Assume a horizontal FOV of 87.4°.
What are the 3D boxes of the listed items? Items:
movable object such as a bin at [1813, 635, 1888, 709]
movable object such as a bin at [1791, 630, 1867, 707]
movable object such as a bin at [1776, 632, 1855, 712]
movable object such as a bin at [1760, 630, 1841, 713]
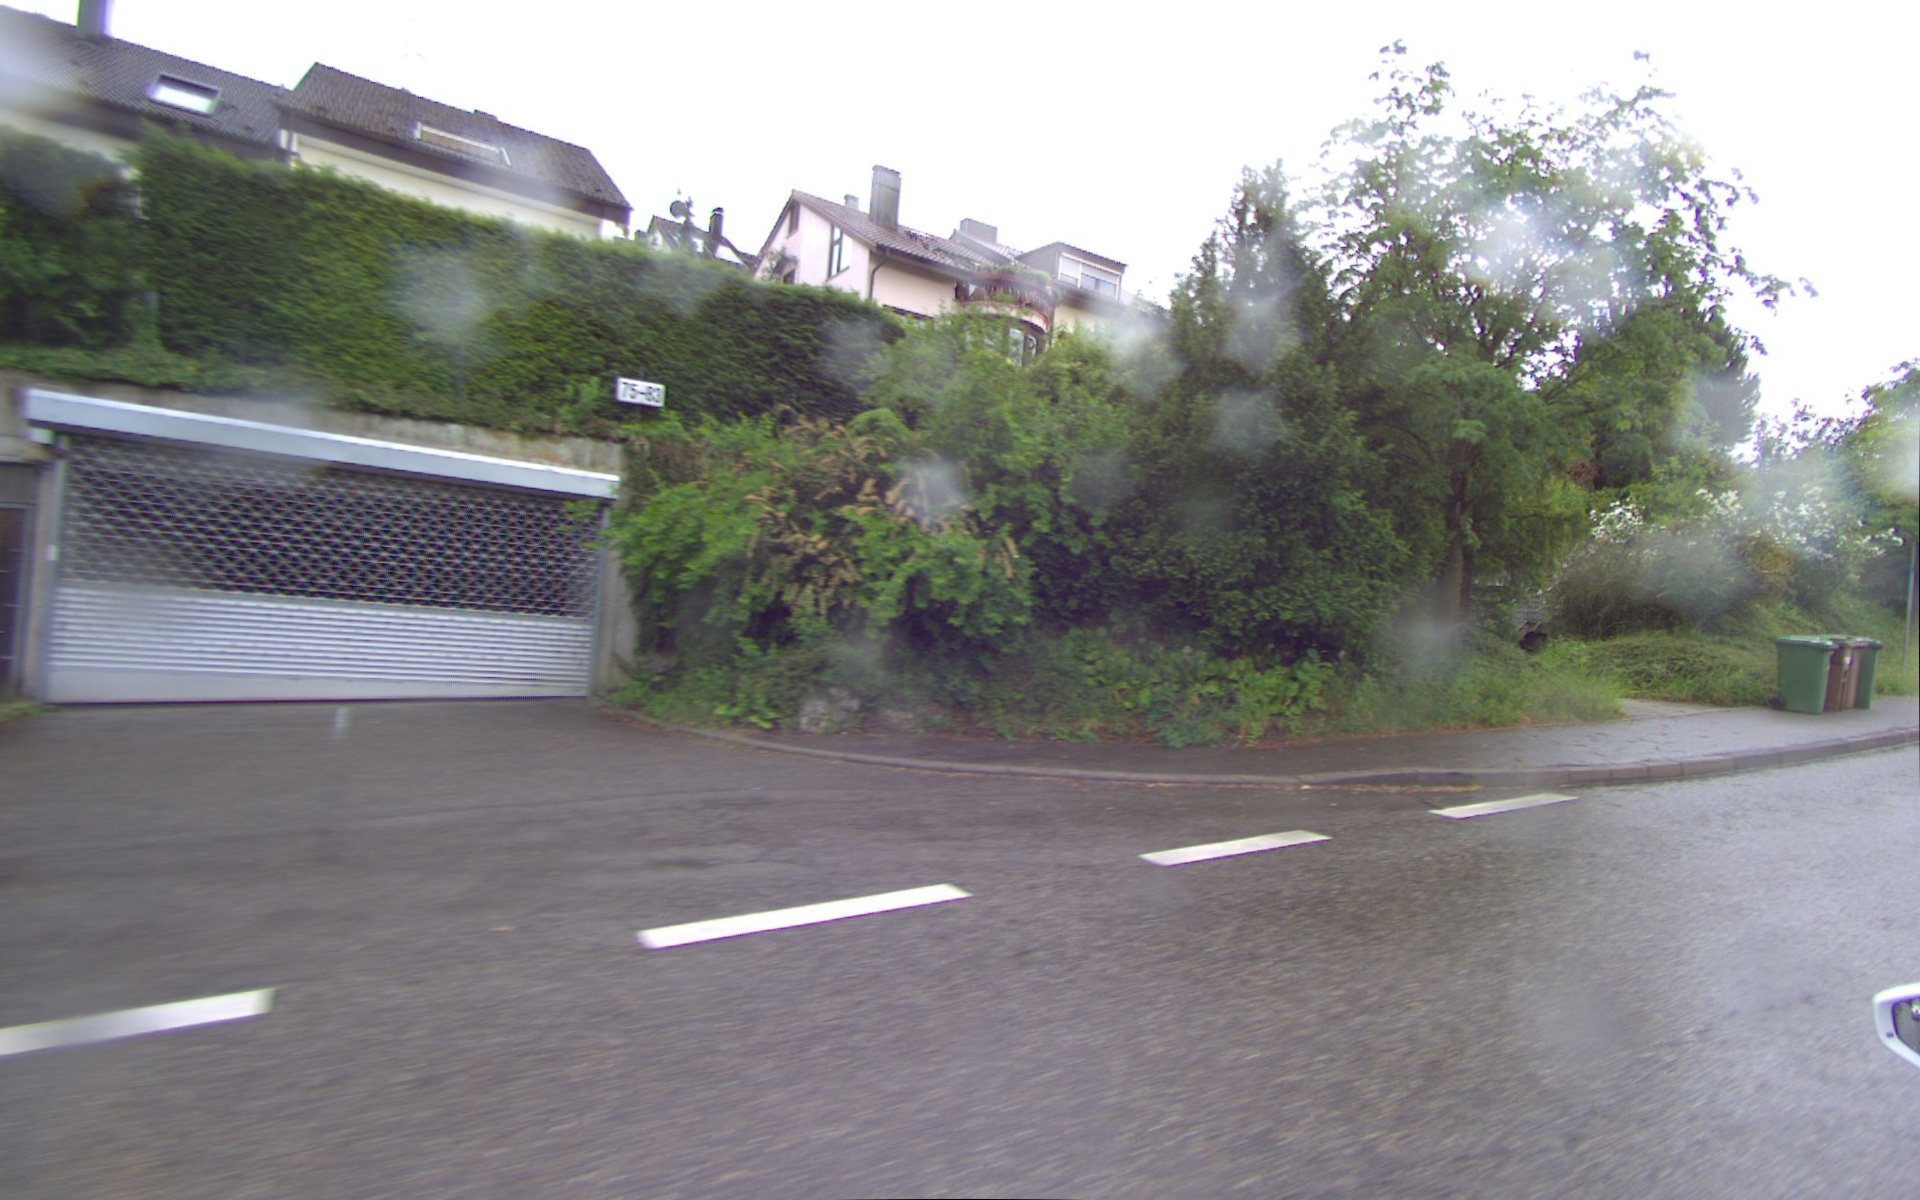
[{"bbox_3d":[13.835,1.102,15.608,0.685,1.082,0.762,1,0,-39],"label":"movable object such as a bin"},{"bbox_3d":[13.199,1.019,15.261,0.666,1.111,0.762,1,0,-39],"label":"movable object such as a bin"},{"bbox_3d":[12.611,1.042,14.812,0.732,1.111,0.762,1,0,-39],"label":"movable object such as a bin"},{"bbox_3d":[12.019,1.002,14.364,0.732,1.111,0.762,1,0,-39],"label":"movable object such as a bin"}]
